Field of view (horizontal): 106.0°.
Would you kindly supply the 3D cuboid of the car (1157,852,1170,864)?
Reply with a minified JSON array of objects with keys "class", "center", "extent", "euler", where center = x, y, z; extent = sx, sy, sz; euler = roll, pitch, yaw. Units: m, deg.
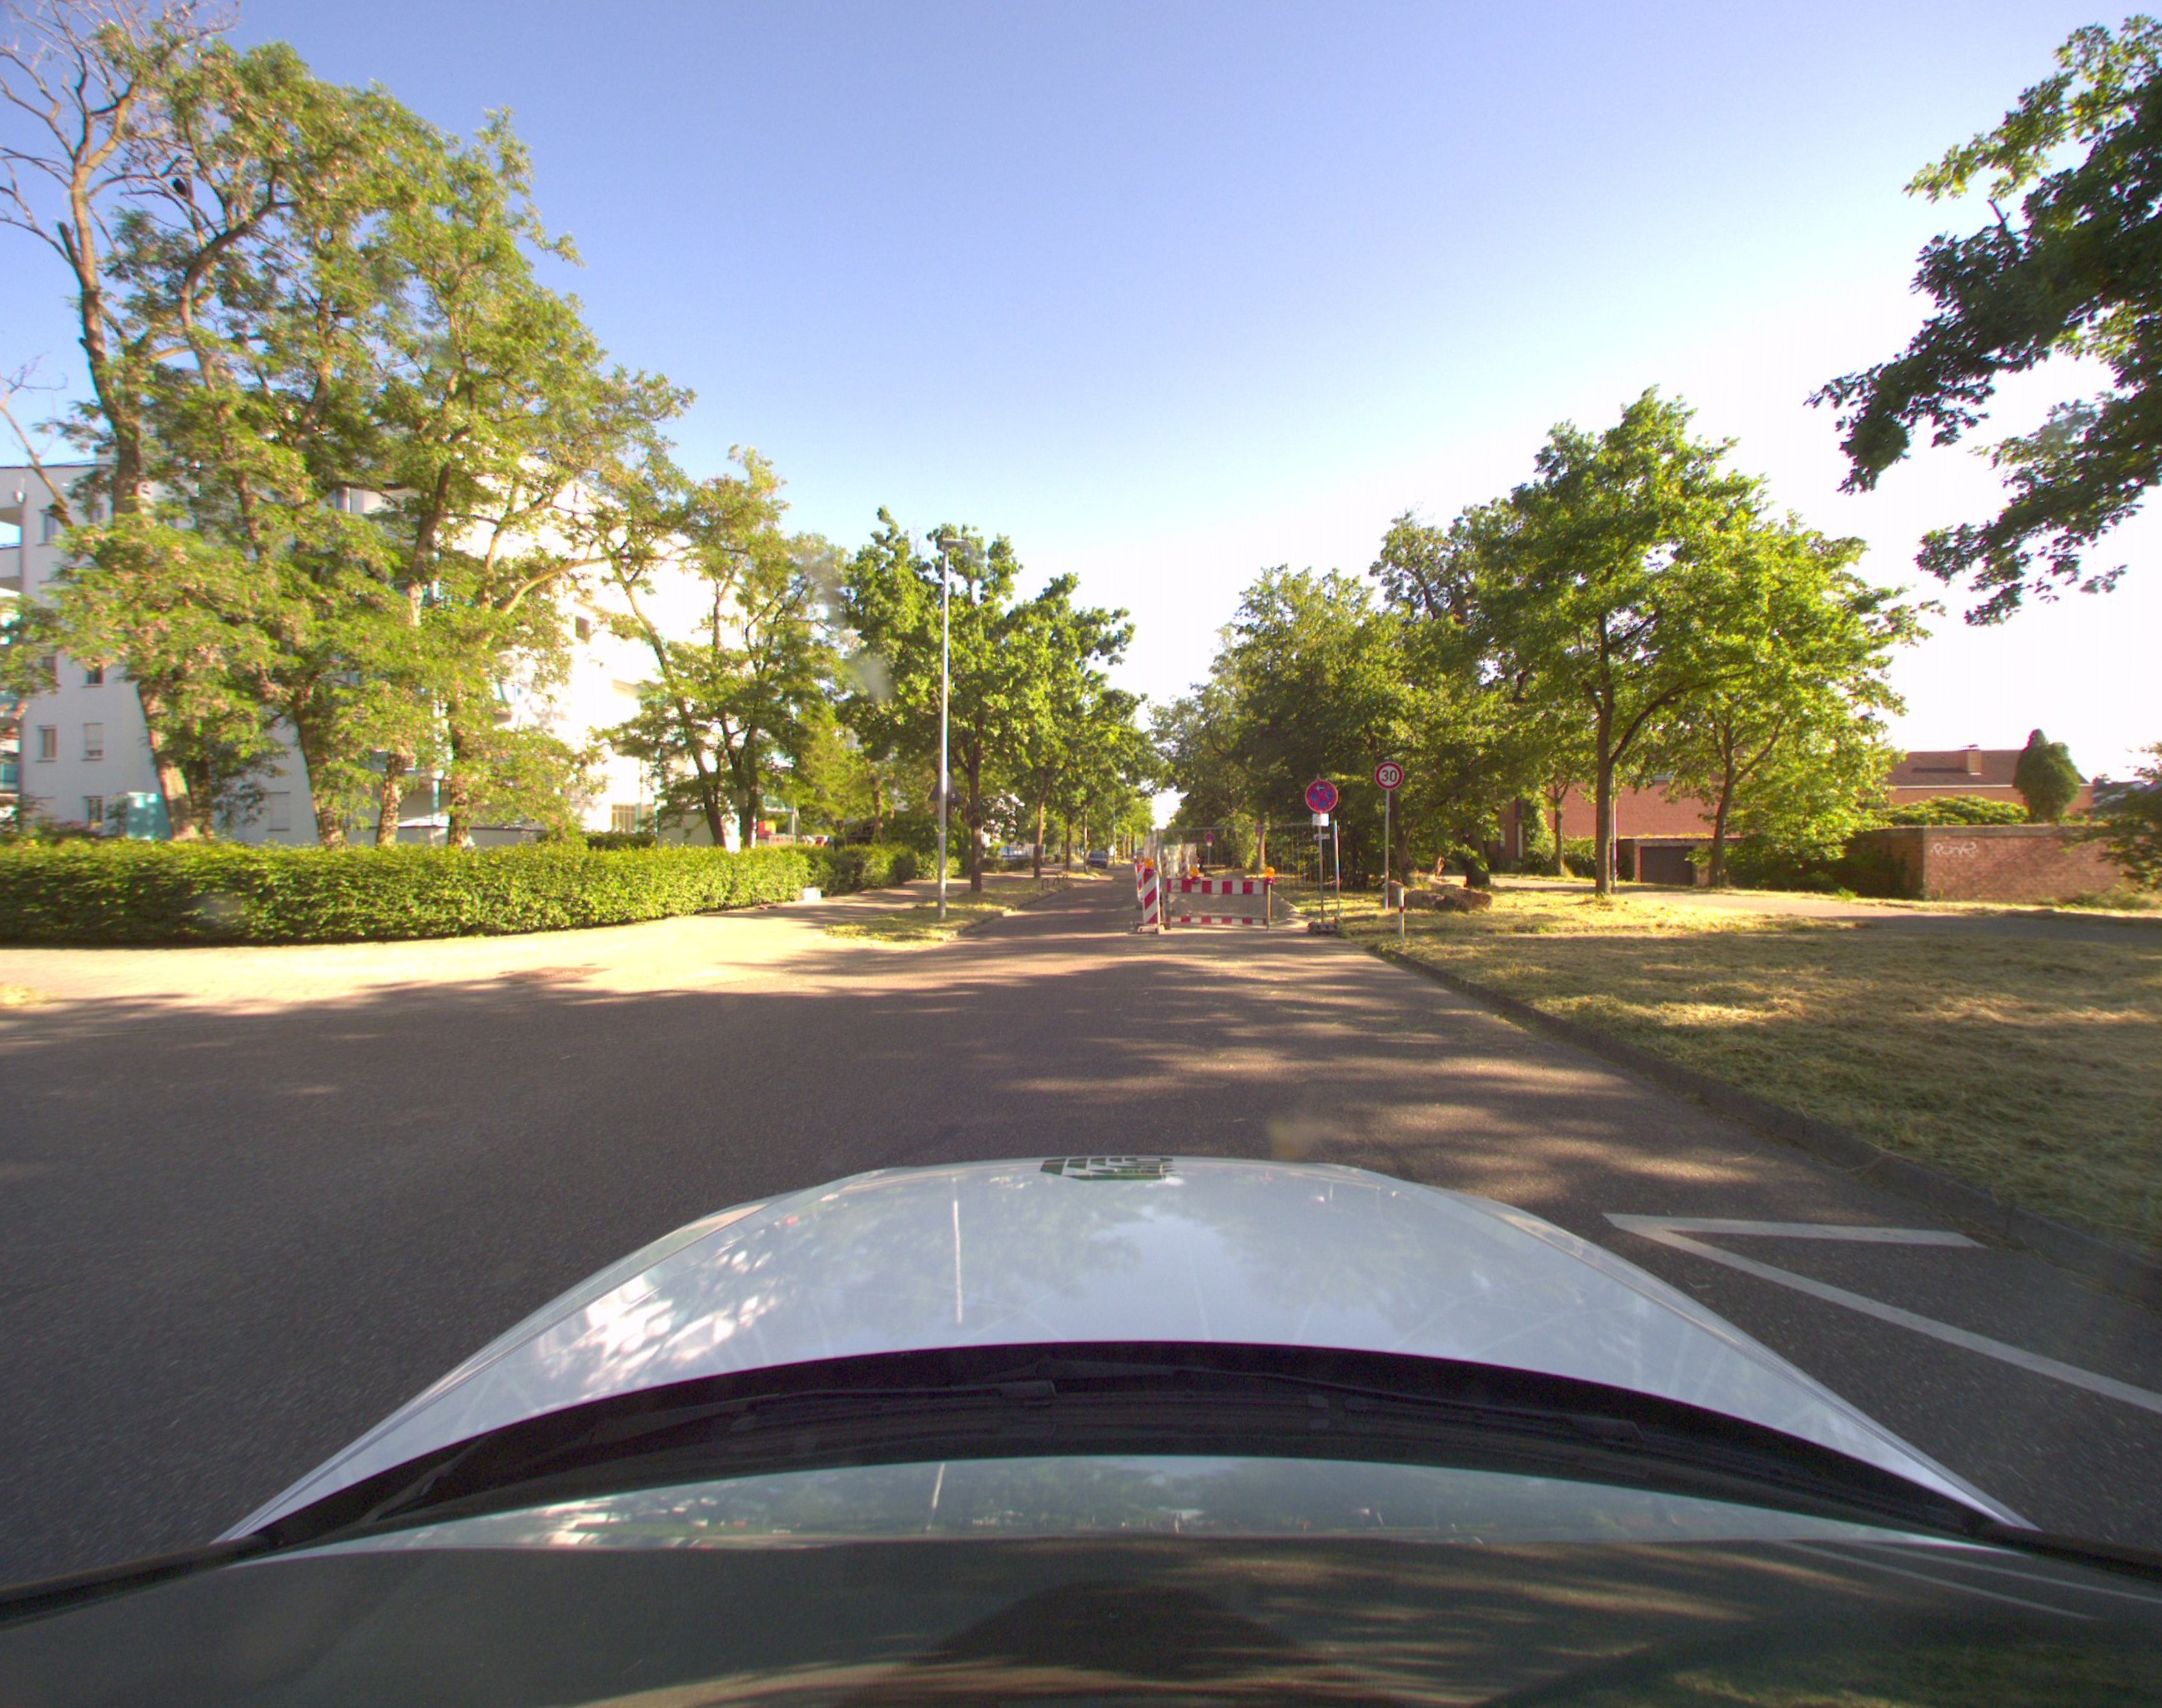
[{"class":"car","center":[9.374,0.475,92.844],"extent":[1.355,1.302,3.484],"euler":[1,-1,3]}]

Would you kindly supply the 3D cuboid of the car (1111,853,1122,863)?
[{"class":"car","center":[4.613,0.518,105.845],"extent":[1.355,1.302,3.484],"euler":[1,-1,3]}]

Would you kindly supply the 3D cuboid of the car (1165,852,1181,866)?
[{"class":"car","center":[9.019,0.488,79.843],"extent":[1.355,1.302,3.484],"euler":[1,-1,3]}]

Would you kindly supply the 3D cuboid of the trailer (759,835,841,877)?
[{"class":"trailer","center":[-14.566,0.084,42.523],"extent":[1.963,2.042,4.445],"euler":[0,0,12]}]

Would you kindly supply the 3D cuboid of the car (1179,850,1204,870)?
[{"class":"car","center":[8.681,0.456,64.464],"extent":[1.745,1.595,3.661],"euler":[0,0,4]}]
